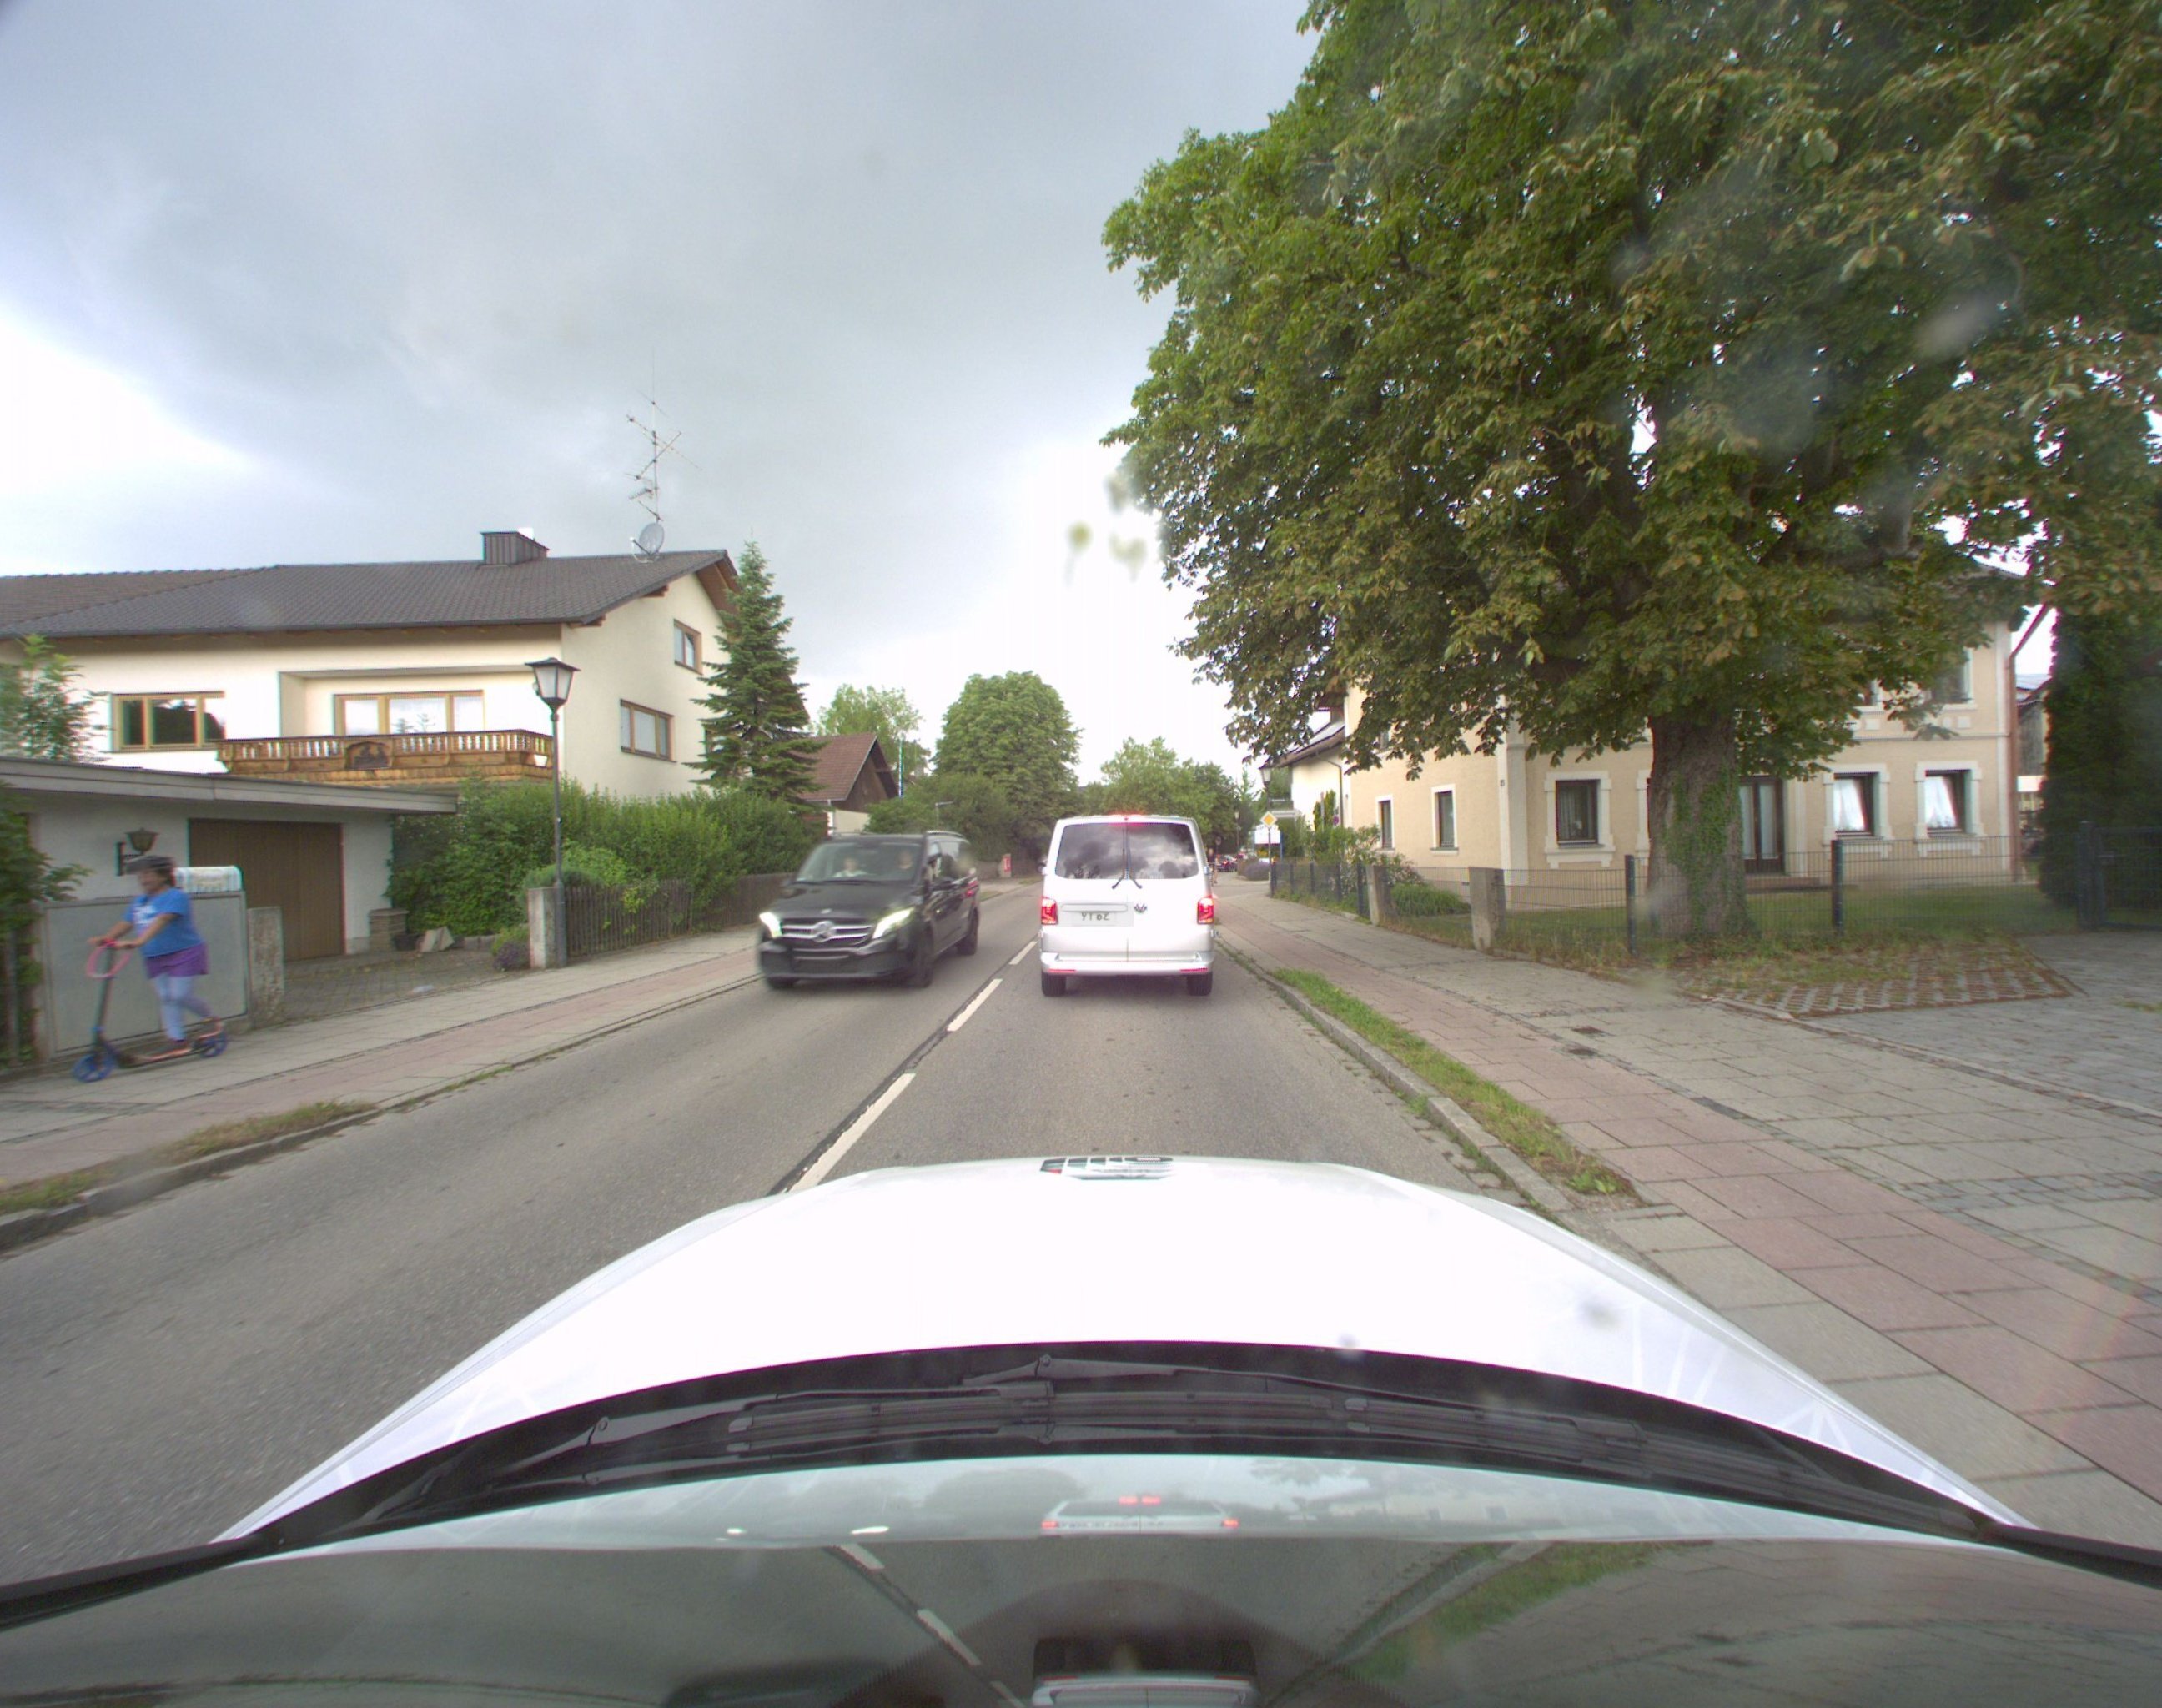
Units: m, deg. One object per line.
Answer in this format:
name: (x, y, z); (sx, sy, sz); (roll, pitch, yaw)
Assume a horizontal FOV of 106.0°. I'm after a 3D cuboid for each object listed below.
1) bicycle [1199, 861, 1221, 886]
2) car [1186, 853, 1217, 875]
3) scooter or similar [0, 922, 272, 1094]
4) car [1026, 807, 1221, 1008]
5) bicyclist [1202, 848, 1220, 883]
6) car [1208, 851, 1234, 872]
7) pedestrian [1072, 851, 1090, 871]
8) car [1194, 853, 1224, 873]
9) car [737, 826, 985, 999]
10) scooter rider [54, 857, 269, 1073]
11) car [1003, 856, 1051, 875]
bicycle: (6.029, 0.905, 38.153); (0.761, 1.143, 1.846); (-2, 0, 3)
car: (8.929, 0.713, 60.156); (1.868, 1.535, 3.936); (-1, 0, 14)
scooter or similar: (-6.923, 1.077, 6.018); (0.658, 1.037, 1.179); (-1, 0, 3)
car: (0.519, 0.535, 9.974); (1.873, 1.940, 3.923); (-1, 0, 3)
bicyclist: (6.095, 0.540, 38.201); (0.733, 1.633, 0.891); (-2, -1, 3)
car: (12.588, 0.657, 72.962); (1.867, 1.748, 4.096); (-1, 0, 15)
pedestrian: (-0.027, 0.610, 73.754); (1.324, 1.803, 1.061); (-1, 0, -22)
car: (10.394, 0.737, 65.992); (1.867, 1.535, 3.937); (-1, 0, 16)
car: (-2.658, 0.634, 11.239); (1.957, 1.853, 4.949); (0, 0, 1)
scooter rider: (-6.917, 0.786, 6.175); (0.690, 1.524, 0.801); (0, 0, 2)
car: (-4.565, 0.959, 68.294); (3.982, 1.486, 1.996); (-1, 0, -6)
